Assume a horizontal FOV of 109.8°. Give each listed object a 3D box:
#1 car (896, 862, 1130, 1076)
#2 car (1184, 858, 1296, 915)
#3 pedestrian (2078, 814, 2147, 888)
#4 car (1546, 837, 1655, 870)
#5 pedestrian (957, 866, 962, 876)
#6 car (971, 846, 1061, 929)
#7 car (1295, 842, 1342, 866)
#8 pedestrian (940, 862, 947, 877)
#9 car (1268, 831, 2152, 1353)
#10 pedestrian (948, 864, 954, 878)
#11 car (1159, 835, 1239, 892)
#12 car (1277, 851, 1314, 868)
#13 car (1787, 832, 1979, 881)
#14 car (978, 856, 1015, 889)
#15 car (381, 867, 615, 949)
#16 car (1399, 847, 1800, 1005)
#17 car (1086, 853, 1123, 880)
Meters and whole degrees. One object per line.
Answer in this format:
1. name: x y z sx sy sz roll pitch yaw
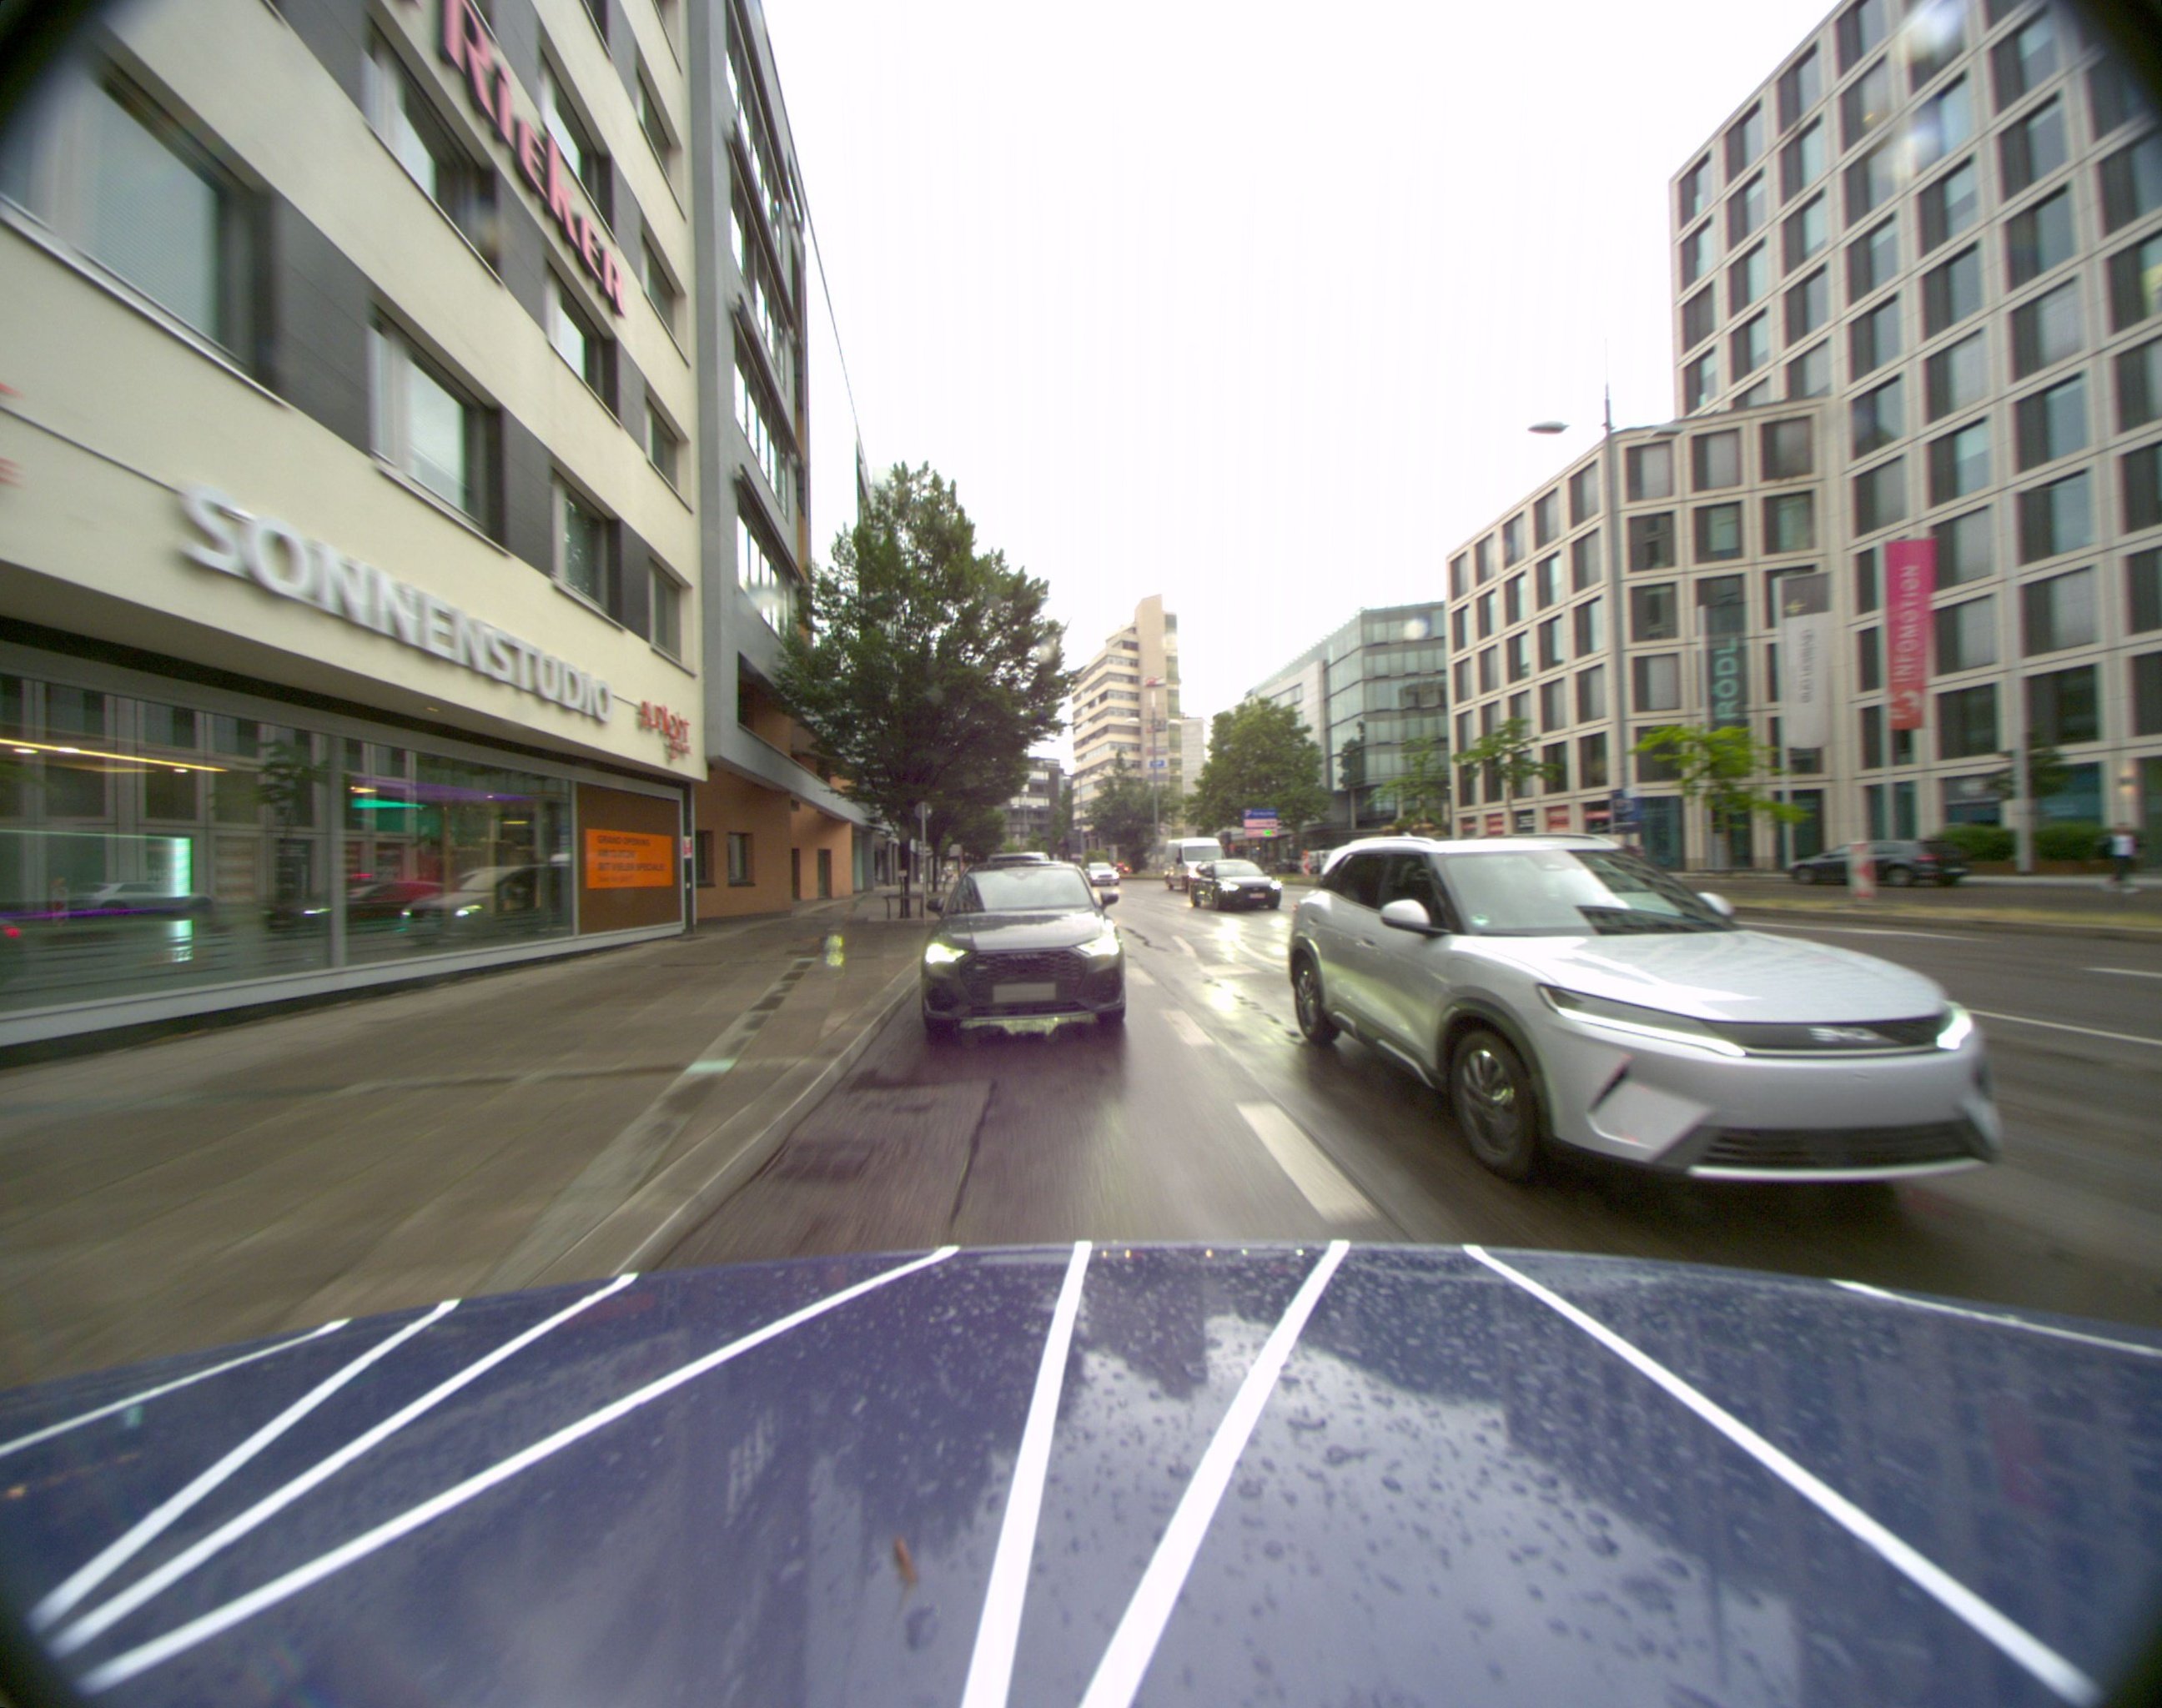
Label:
1. car: -0.515 0.946 8.274 1.802 1.543 4.388 -3 1 1
2. car: 4.584 0.893 22.591 1.905 1.393 4.238 -3 1 -7
3. pedestrian: 25.309 -0.074 18.647 0.967 1.724 0.614 -3 1 -9
4. car: 24.064 -0.019 35.419 1.703 1.415 4.371 -1 0 -7
5. pedestrian: -19.234 2.678 120.607 0.654 1.588 1.057 -3 1 -14
6. car: -1.867 0.801 20.735 2.061 1.881 5.045 -3 1 -7
7. car: 20.883 -0.010 67.098 2.000 2.002 4.912 -3 1 -8
8. pedestrian: -17.149 1.954 94.924 0.794 1.771 0.894 -3 -1 -11
9. car: 2.642 0.776 4.625 1.813 1.651 4.169 -3 1 -2
10. pedestrian: -16.405 2.170 95.885 0.641 1.771 0.879 -3 -1 -8
11. car: 5.368 0.388 35.539 2.260 2.371 5.716 -3 1 -5
12. car: 20.341 0.487 72.202 1.803 1.520 4.283 -3 1 -8
13. car: 25.165 0.084 24.063 1.703 1.415 3.953 -1 0 -7
14. car: -5.361 1.104 47.768 2.061 1.881 5.045 -3 1 -8
15. car: -14.427 1.232 19.288 1.998 1.600 4.927 -3 1 1
16. car: 6.116 0.708 9.670 1.776 1.470 4.123 -3 1 -11
17. car: 1.416 0.718 46.872 1.785 1.499 3.998 -3 1 -5
